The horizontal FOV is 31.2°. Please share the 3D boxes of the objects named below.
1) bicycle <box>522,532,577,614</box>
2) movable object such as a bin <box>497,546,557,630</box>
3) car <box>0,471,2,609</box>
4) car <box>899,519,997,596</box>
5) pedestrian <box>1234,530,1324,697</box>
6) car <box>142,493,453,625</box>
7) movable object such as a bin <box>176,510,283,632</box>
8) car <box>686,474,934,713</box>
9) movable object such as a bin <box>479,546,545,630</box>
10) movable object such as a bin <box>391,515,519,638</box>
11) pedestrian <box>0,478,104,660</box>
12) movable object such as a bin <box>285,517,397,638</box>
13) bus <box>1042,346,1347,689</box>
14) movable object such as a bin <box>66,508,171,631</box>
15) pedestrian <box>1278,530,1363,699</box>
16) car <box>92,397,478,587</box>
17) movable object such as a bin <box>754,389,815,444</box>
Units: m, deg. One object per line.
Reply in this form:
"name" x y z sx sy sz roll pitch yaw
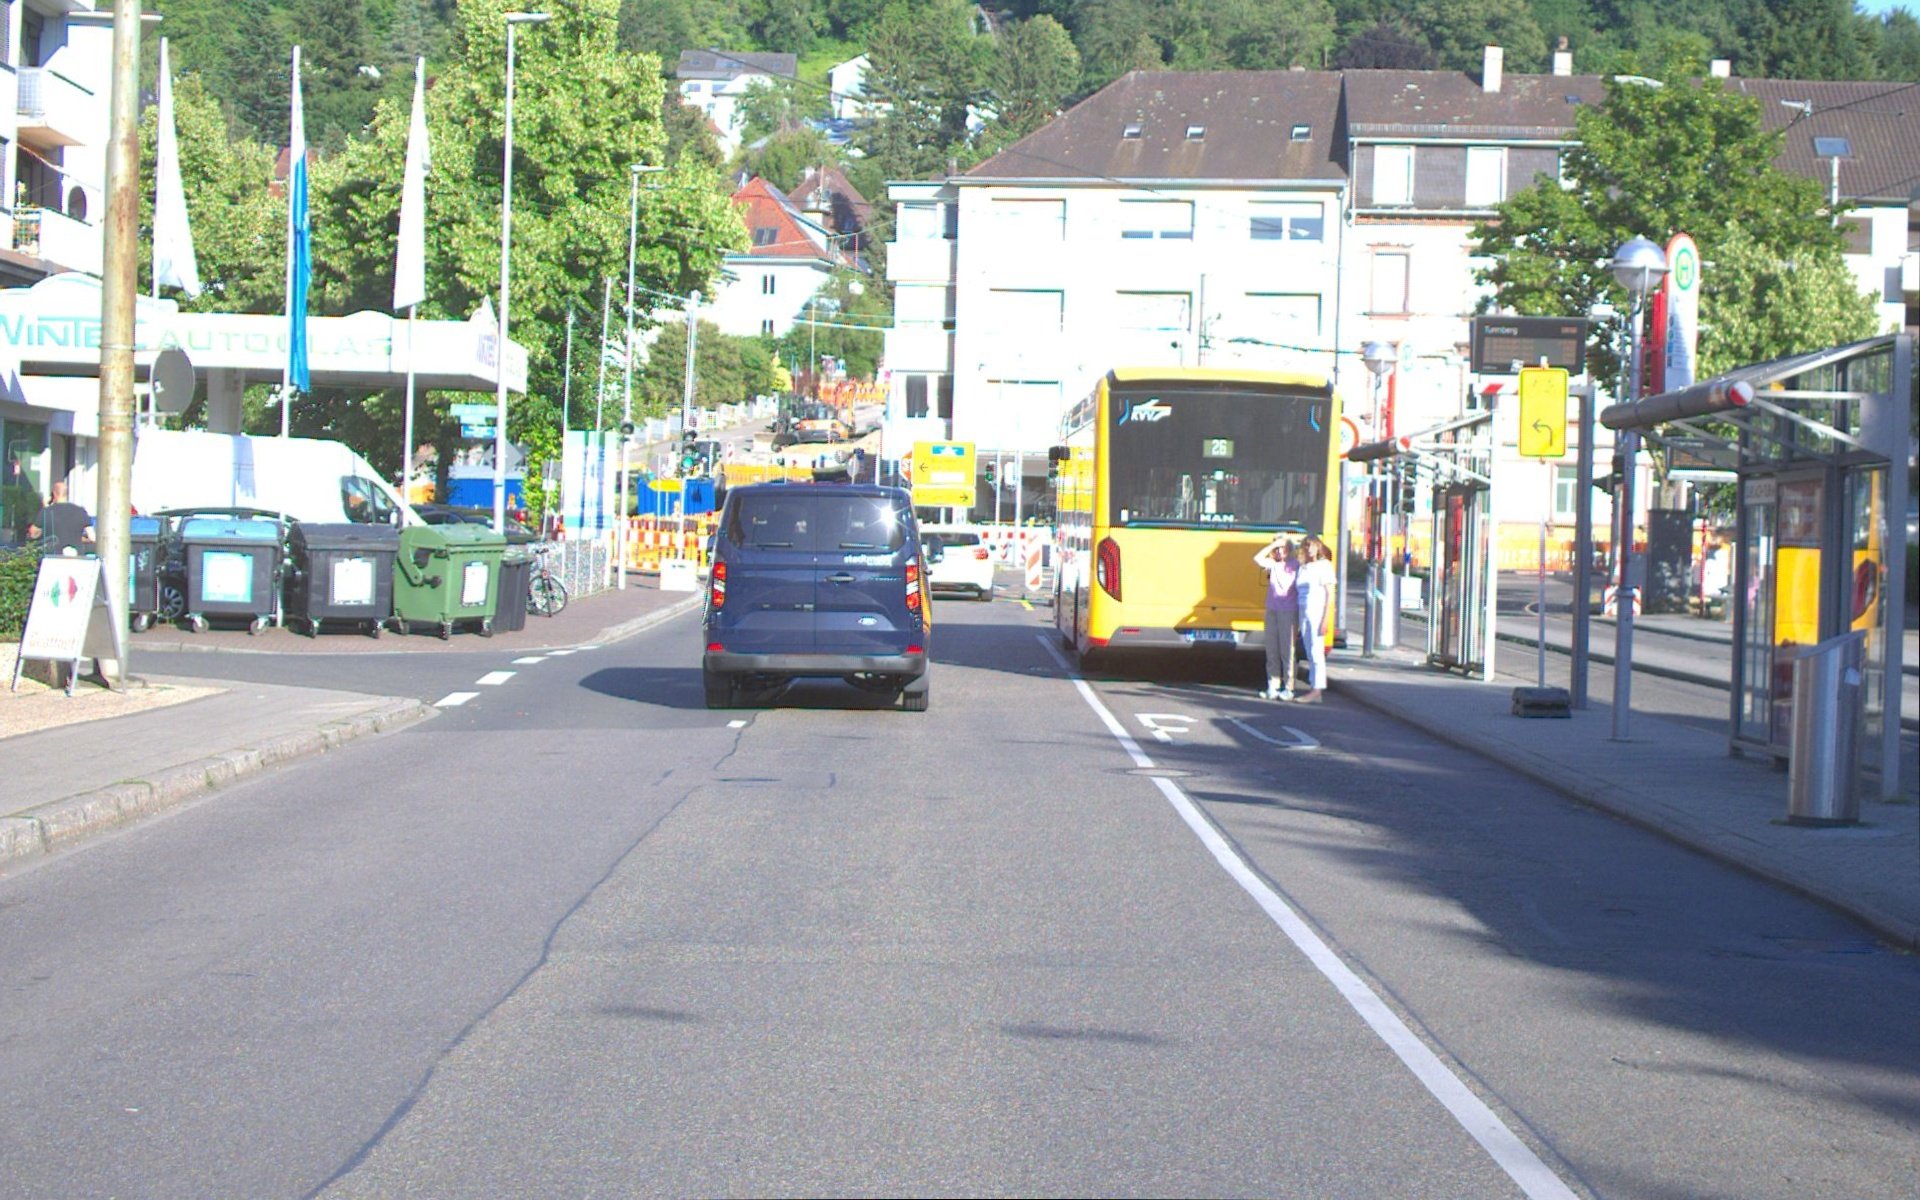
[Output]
"bicycle" -6.170 -0.419 51.603 0.723 1.174 1.781 1 1 -9
"movable object such as a bin" -5.861 -0.164 46.539 0.640 1.065 0.580 3 4 12
"car" -12.322 -0.412 34.950 4.614 1.926 2.000 1 1 -2
"car" -0.199 -0.822 66.173 1.794 1.405 4.000 1 1 1
"pedestrian" 3.112 0.128 33.547 0.544 1.607 0.636 1 1 -37
"car" -8.994 -0.560 46.600 3.985 1.563 1.773 2 2 -14
"movable object such as a bin" -9.244 -0.370 43.519 1.218 1.477 0.704 1 4 -4
"car" -1.279 -0.099 31.445 2.062 2.007 5.000 0 1 0
"movable object such as a bin" -5.972 -0.166 45.888 0.660 1.059 0.585 4 3 12
"movable object such as a bin" -6.596 -0.319 44.909 1.056 1.477 1.310 4 5 28
"pedestrian" -9.535 -0.333 35.940 0.818 1.861 0.794 2 2 17
"movable object such as a bin" -7.881 -0.291 43.760 1.218 1.477 0.704 -1 5 -29
"bus" 2.516 -1.007 40.823 2.688 3.404 12.019 2 2 0
"movable object such as a bin" -10.624 -0.389 43.428 1.177 1.477 0.704 1 4 -4
"pedestrian" 3.477 0.134 33.181 0.544 1.607 0.549 1 1 -37
"car" -9.671 -1.527 49.240 5.054 2.461 2.109 2 1 -22
"movable object such as a bin" -9.015 -9.422 176.951 2.192 2.681 3.998 2 2 11
